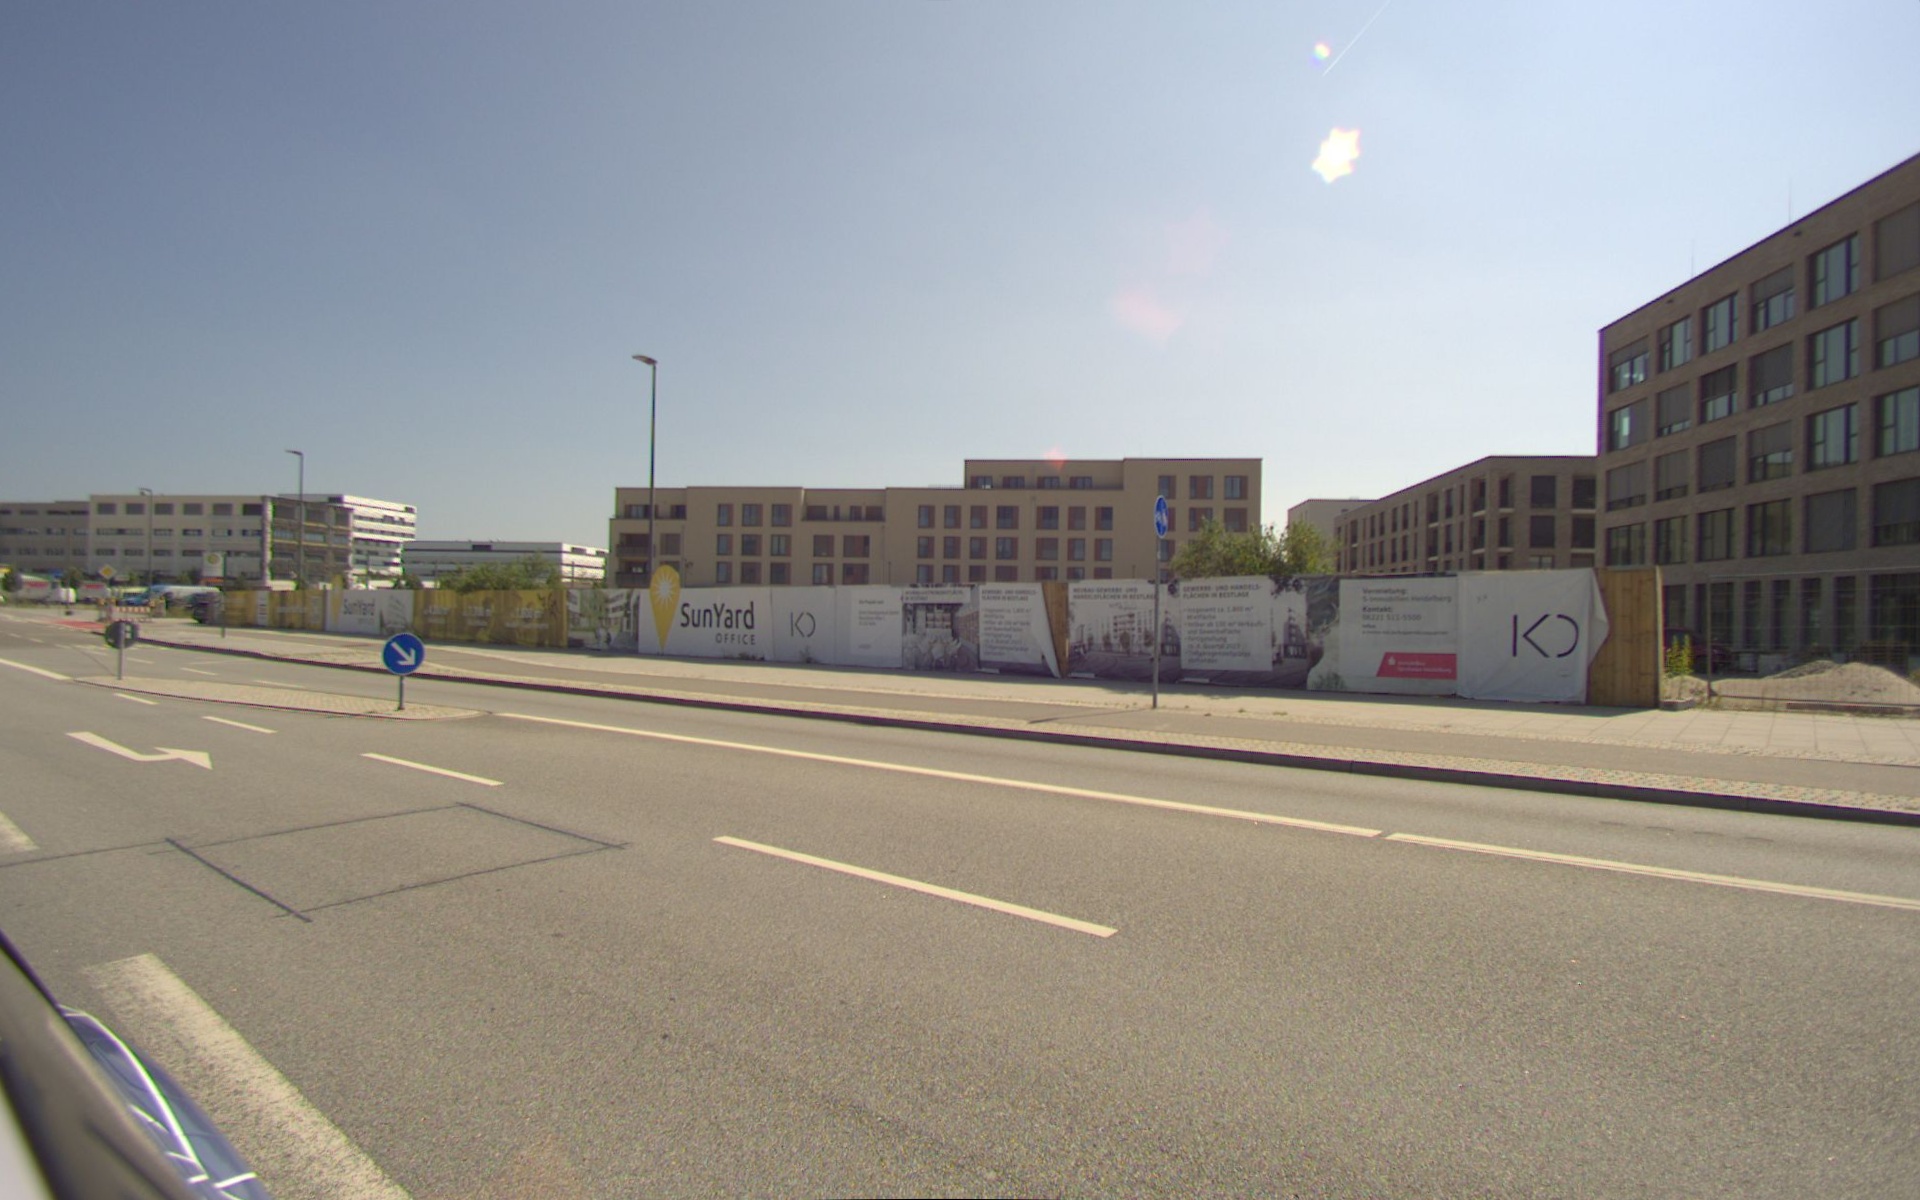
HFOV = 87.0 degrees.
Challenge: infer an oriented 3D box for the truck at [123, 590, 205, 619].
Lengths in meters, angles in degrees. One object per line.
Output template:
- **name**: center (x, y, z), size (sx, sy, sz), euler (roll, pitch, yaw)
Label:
- **truck**: center (-72.488, 0.386, 92.211), size (1.996, 2.494, 5.567), euler (0, 1, 36)

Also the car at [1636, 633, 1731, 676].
- **car**: center (32.051, 2.396, 44.954), size (1.814, 1.666, 3.772), euler (0, 0, 7)

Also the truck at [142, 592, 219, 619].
- **truck**: center (-67.138, 0.424, 87.265), size (1.998, 2.245, 4.942), euler (0, 1, 39)

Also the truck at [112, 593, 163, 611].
- **truck**: center (-114.855, 0.295, 141.388), size (1.996, 2.494, 5.270), euler (0, 1, 36)

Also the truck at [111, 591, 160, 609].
- **truck**: center (-120.183, -0.011, 147.557), size (1.998, 2.494, 5.346), euler (0, 1, 38)

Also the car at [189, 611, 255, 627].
- **car**: center (-48.338, 1.231, 66.359), size (1.293, 0.960, 3.315), euler (0, 1, 43)

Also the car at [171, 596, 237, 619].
- **car**: center (-60.307, 0.603, 80.764), size (1.888, 1.731, 3.885), euler (0, 1, 35)
